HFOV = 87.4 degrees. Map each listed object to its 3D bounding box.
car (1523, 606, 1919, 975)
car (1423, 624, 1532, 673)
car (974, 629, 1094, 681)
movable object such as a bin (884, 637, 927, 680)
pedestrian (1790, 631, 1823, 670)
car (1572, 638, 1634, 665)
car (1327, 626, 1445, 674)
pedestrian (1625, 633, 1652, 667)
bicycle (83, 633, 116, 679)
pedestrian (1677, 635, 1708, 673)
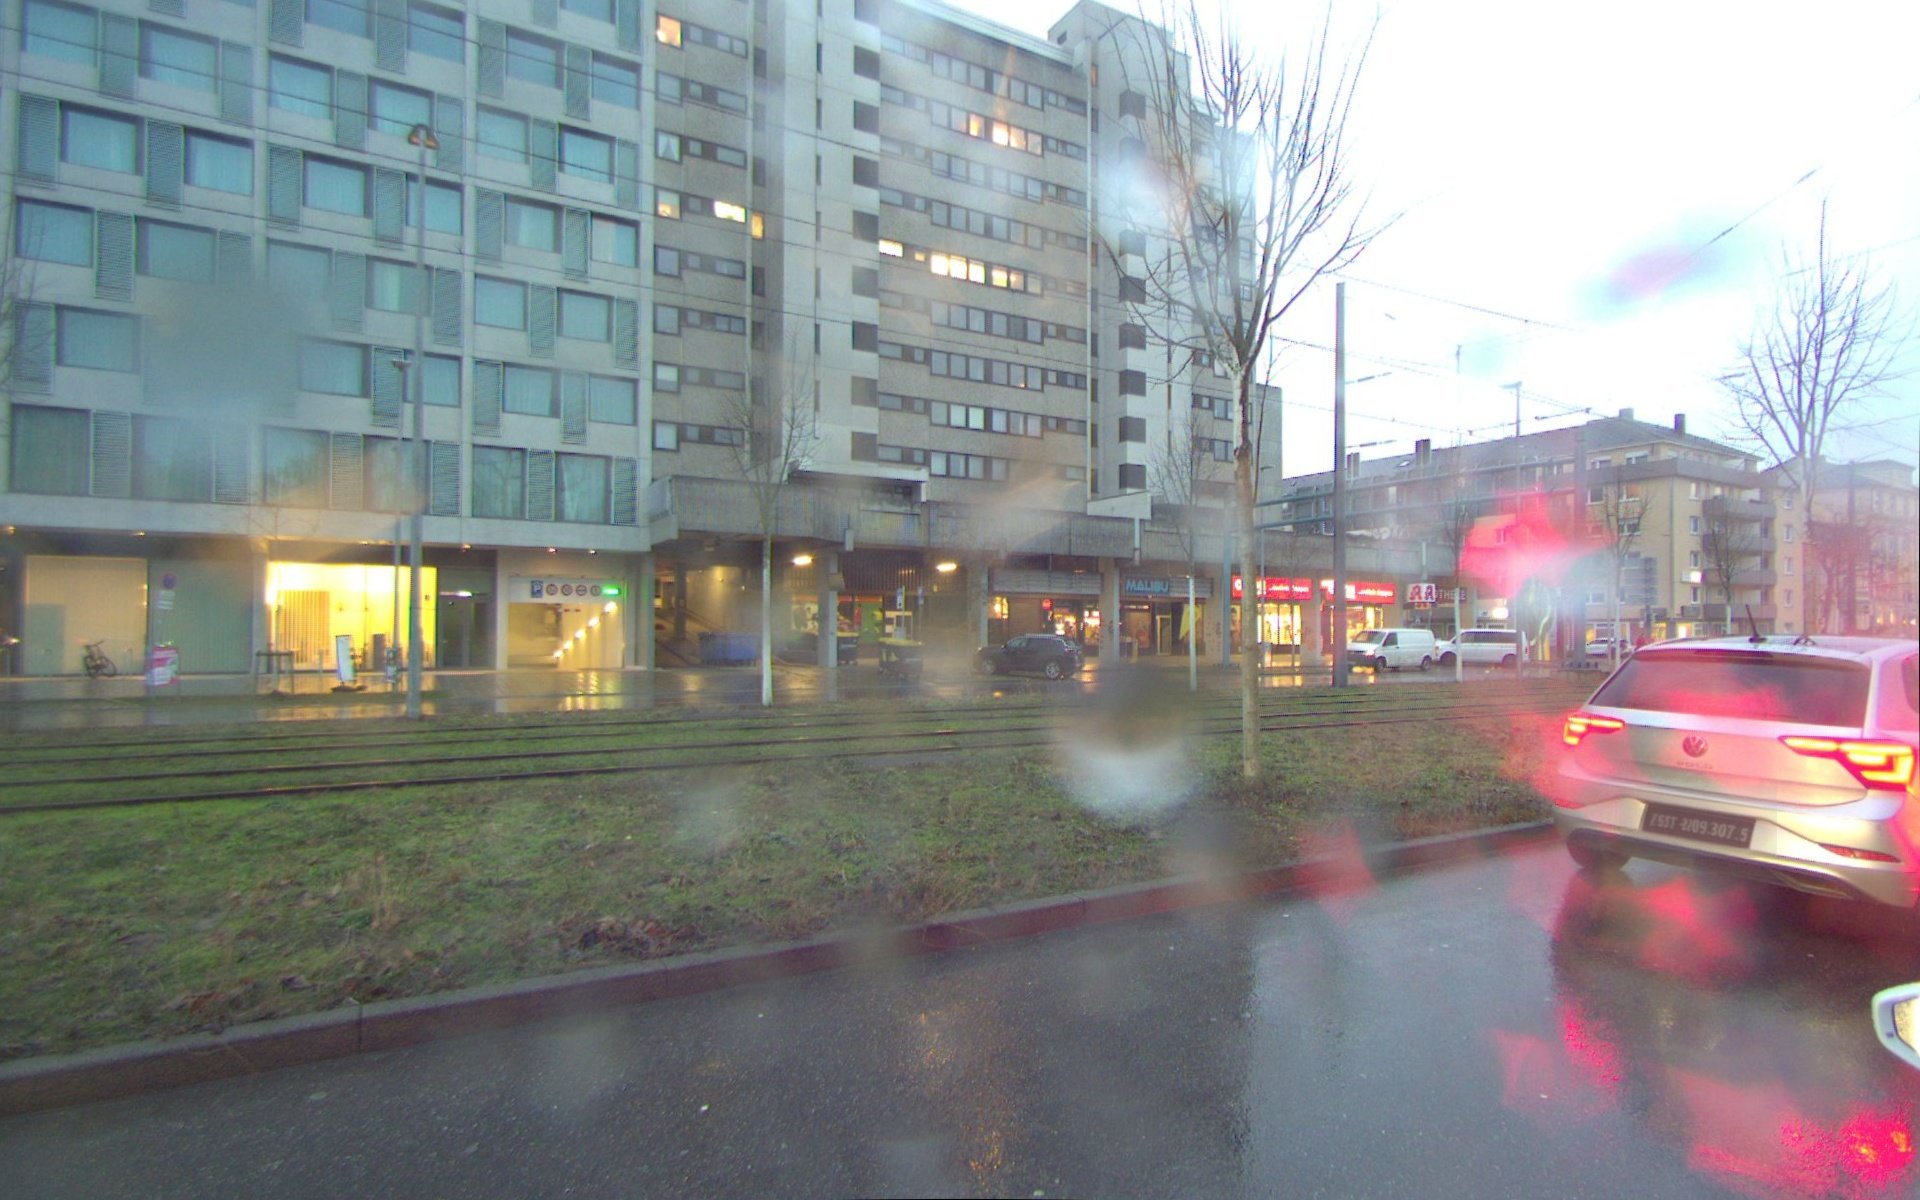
[{"bbox_3d":[5.330,0.850,6.002,3.953,1.554,1.685,1,-1,-31],"label":"car"},{"bbox_3d":[27.106,2.513,52.795,4.734,2.274,2.001,2,0,15],"label":"car"},{"bbox_3d":[2.818,2.066,38.340,4.066,1.715,1.982,2,0,28],"label":"car"},{"bbox_3d":[-1.897,2.025,35.017,1.023,1.445,1.061,2,0,-41],"label":"movable object such as a bin"},{"bbox_3d":[45.071,2.674,53.498,1.253,2.040,1.004,-1,-2,36],"label":"pedestrian"},{"bbox_3d":[51.212,4.073,80.056,1.826,1.968,3.720,2,0,-37],"label":"car"},{"bbox_3d":[20.043,2.350,47.219,5.491,2.073,1.987,2,0,-26],"label":"car"},{"bbox_3d":[40.178,2.953,59.509,0.987,2.040,0.962,0,-1,11],"label":"pedestrian"},{"bbox_3d":[-25.141,1.618,29.352,0.460,1.255,1.527,2,0,-31],"label":"bicycle"},{"bbox_3d":[39.703,2.917,54.449,1.050,2.040,1.008,0,-2,19],"label":"pedestrian"}]
